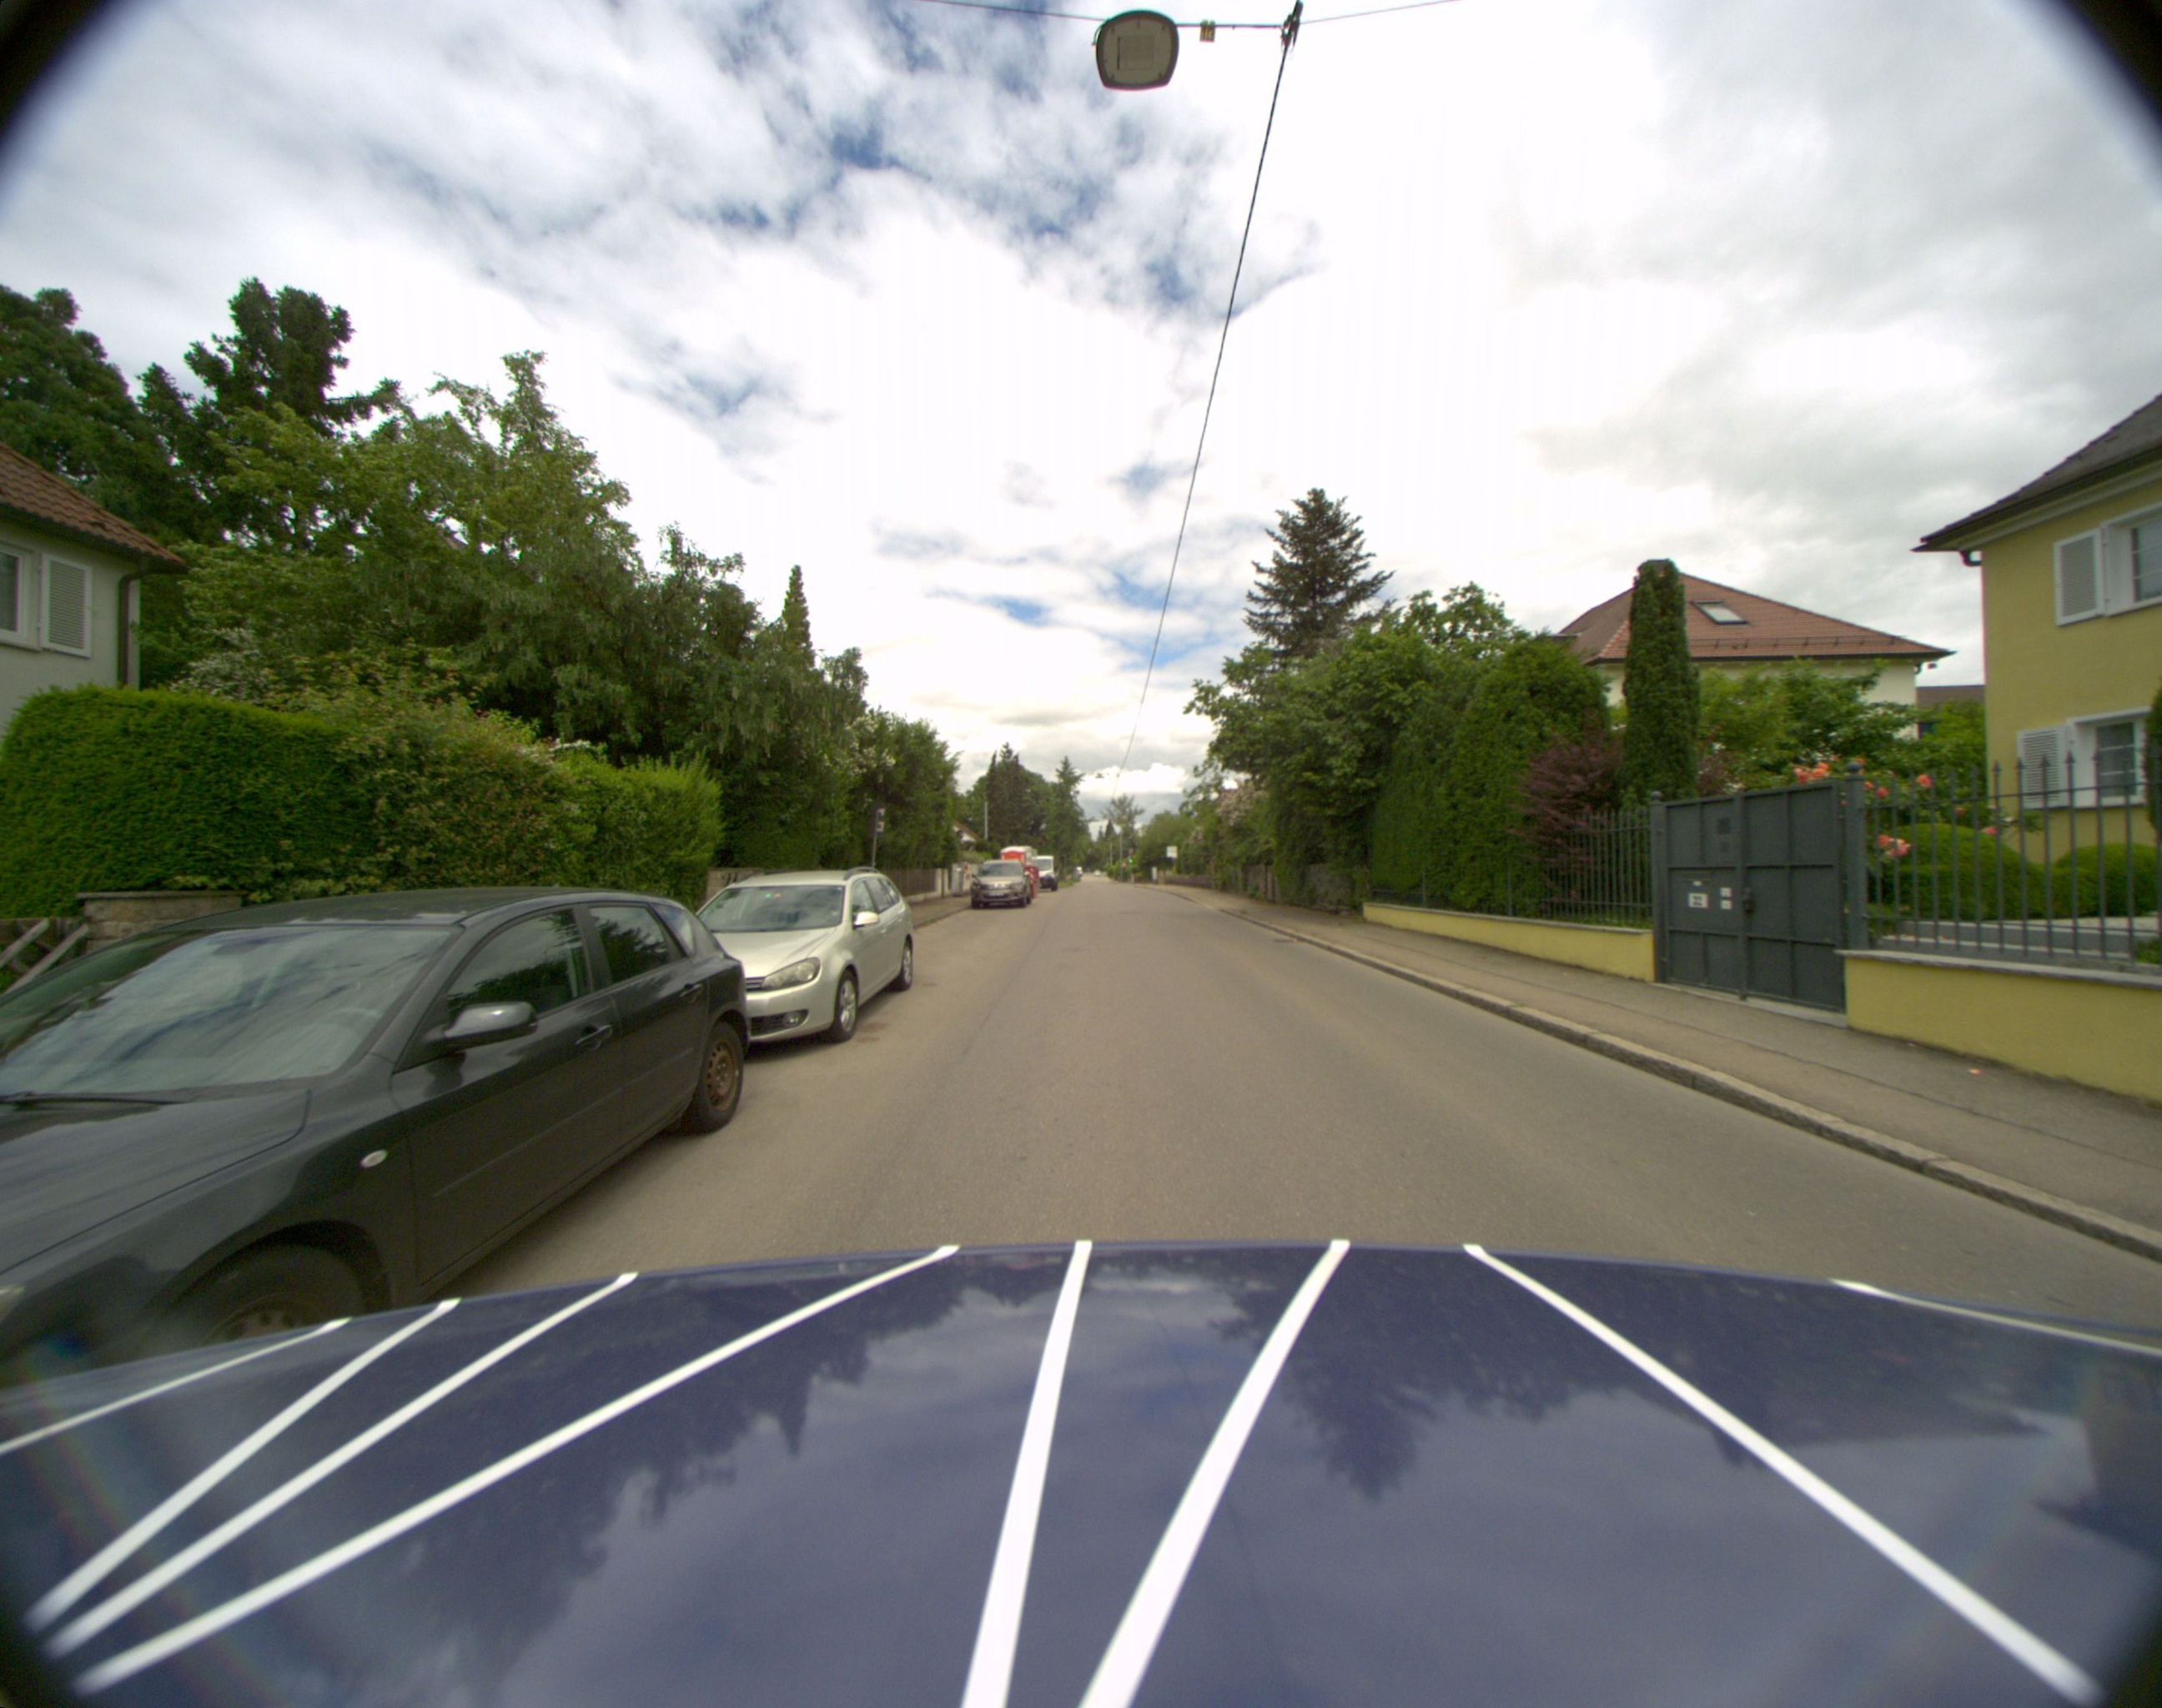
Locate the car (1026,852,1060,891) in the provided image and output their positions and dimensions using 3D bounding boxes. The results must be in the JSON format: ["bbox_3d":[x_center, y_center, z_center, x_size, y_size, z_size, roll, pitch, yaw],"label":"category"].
[{"bbox_3d":[-2.302,1.030,47.118,1.854,2.211,5.367,-3,0,-1],"label":"car"}]

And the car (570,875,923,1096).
[{"bbox_3d":[-2.921,1.032,7.803,1.761,1.468,4.357,-1,0,-2],"label":"car"}]

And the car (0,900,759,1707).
[{"bbox_3d":[-2.850,1.040,2.726,1.721,1.452,4.140,-1,0,-2],"label":"car"}]

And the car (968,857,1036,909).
[{"bbox_3d":[-2.685,1.007,26.677,1.878,1.622,4.126,-2,-1,0],"label":"car"}]
